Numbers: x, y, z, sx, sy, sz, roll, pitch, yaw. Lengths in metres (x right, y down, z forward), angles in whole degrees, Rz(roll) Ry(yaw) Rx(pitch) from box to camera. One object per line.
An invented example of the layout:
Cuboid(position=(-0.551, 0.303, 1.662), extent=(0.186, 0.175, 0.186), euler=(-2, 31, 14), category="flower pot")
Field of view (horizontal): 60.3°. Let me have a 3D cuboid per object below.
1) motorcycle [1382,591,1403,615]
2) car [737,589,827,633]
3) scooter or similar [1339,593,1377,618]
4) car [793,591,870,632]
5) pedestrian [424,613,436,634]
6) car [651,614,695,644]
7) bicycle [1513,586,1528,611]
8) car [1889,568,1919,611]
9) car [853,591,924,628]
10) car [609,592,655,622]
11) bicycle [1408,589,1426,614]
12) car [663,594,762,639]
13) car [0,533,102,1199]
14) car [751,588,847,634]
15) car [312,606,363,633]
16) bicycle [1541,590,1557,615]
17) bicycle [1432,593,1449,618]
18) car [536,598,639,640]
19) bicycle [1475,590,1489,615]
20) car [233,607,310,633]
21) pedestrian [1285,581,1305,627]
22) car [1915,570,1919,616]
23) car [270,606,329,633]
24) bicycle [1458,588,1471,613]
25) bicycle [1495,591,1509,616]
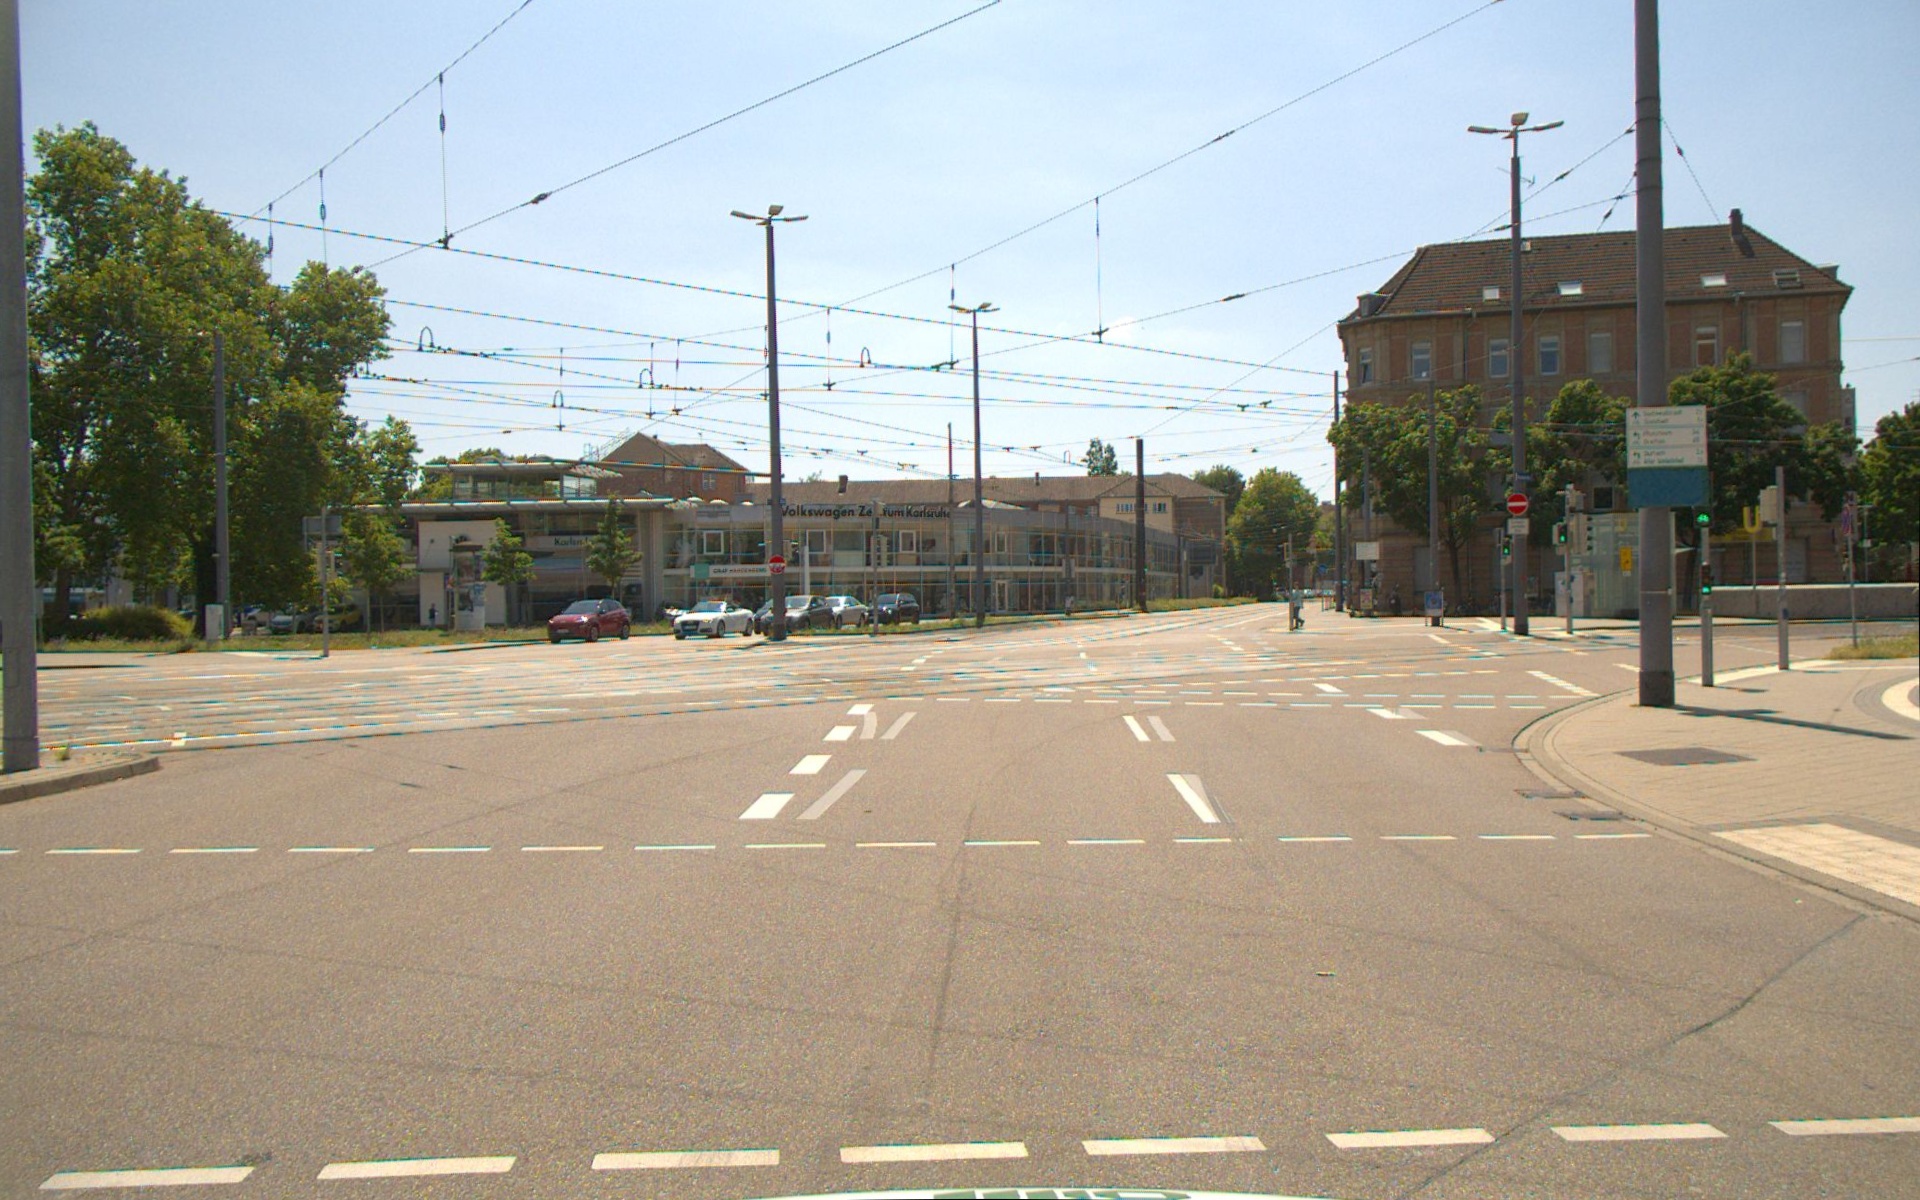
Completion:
Cuboid(position=(20.351, 0.129, 77.839), extent=(0.568, 1.093, 1.947), euler=(-1, 0, 4), category="motorcycle")
Cuboid(position=(-7.377, 0.433, 69.097), extent=(1.951, 1.730, 4.849), euler=(-1, 0, 17), category="car")
Cuboid(position=(19.433, 0.277, 80.818), extent=(1.759, 1.202, 0.596), euler=(-1, 0, -19), category="scooter or similar")
Cuboid(position=(-5.798, 0.508, 75.043), extent=(1.951, 1.770, 4.546), euler=(-1, 0, 17), category="car")
Cuboid(position=(-30.792, 1.365, 96.142), extent=(0.502, 1.225, 0.446), euler=(-1, 0, 6), category="pedestrian")
Cuboid(position=(-17.175, 1.722, 99.013), extent=(1.881, 1.737, 4.000), euler=(1, -1, 1), category="car")
Cuboid(position=(26.267, -0.075, 77.515), extent=(0.539, 1.139, 1.872), euler=(-1, 0, 16), category="bicycle")
Cuboid(position=(38.293, -0.426, 64.640), extent=(3.593, 1.633, 1.682), euler=(-1, 0, -24), category="car")
Cuboid(position=(-3.504, 0.442, 81.905), extent=(2.035, 1.712, 4.849), euler=(-1, 0, 17), category="car")
Cuboid(position=(-19.596, 0.418, 98.991), extent=(1.881, 1.737, 4.000), euler=(1, -1, 1), category="car")
Cuboid(position=(21.433, 0.072, 77.580), extent=(0.539, 1.139, 1.821), euler=(-1, 0, 6), category="bicycle")
Cuboid(position=(-9.359, 0.603, 62.970), extent=(2.032, 1.608, 4.850), euler=(-1, 0, 13), category="car")
Cuboid(position=(-2.653, 0.707, 0.945), extent=(1.760, 1.669, 4.805), euler=(1, 0, 1), category="car")
Cuboid(position=(-6.108, 0.381, 63.272), extent=(1.951, 1.666, 4.849), euler=(-1, 0, 17), category="car")
Cuboid(position=(-37.539, 1.172, 99.848), extent=(1.732, 1.536, 4.323), euler=(-1, 0, -4), category="car")
Cuboid(position=(27.598, 0.093, 77.495), extent=(0.539, 1.139, 1.931), euler=(-1, 0, 16), category="bicycle")
Cuboid(position=(22.553, 0.275, 77.654), extent=(0.433, 1.166, 2.095), euler=(1, -1, 7), category="bicycle")
Cuboid(position=(-14.335, 0.716, 63.945), extent=(1.951, 1.491, 4.850), euler=(-1, 0, 13), category="car")
Cuboid(position=(24.336, 0.133, 77.137), extent=(0.539, 1.139, 1.821), euler=(-1, 0, 16), category="bicycle")
Cuboid(position=(-44.010, 1.256, 105.771), extent=(4.277, 1.536, 1.751), euler=(-1, 0, -35), category="car")
Cuboid(position=(12.861, 0.149, 63.555), extent=(0.454, 1.738, 0.636), euler=(-1, 0, -21), category="pedestrian")
Cuboid(position=(36.329, -0.291, 59.131), extent=(4.125, 1.633, 1.682), euler=(-1, 0, -24), category="car")
Cuboid(position=(-40.029, 1.178, 100.334), extent=(1.730, 1.536, 4.327), euler=(-1, 0, 1), category="car")
Cuboid(position=(23.625, 0.005, 77.430), extent=(0.539, 1.139, 1.821), euler=(-1, 0, 16), category="bicycle")
Cuboid(position=(25.272, 0.156, 77.112), extent=(0.539, 1.139, 1.890), euler=(-1, 0, 16), category="bicycle")
